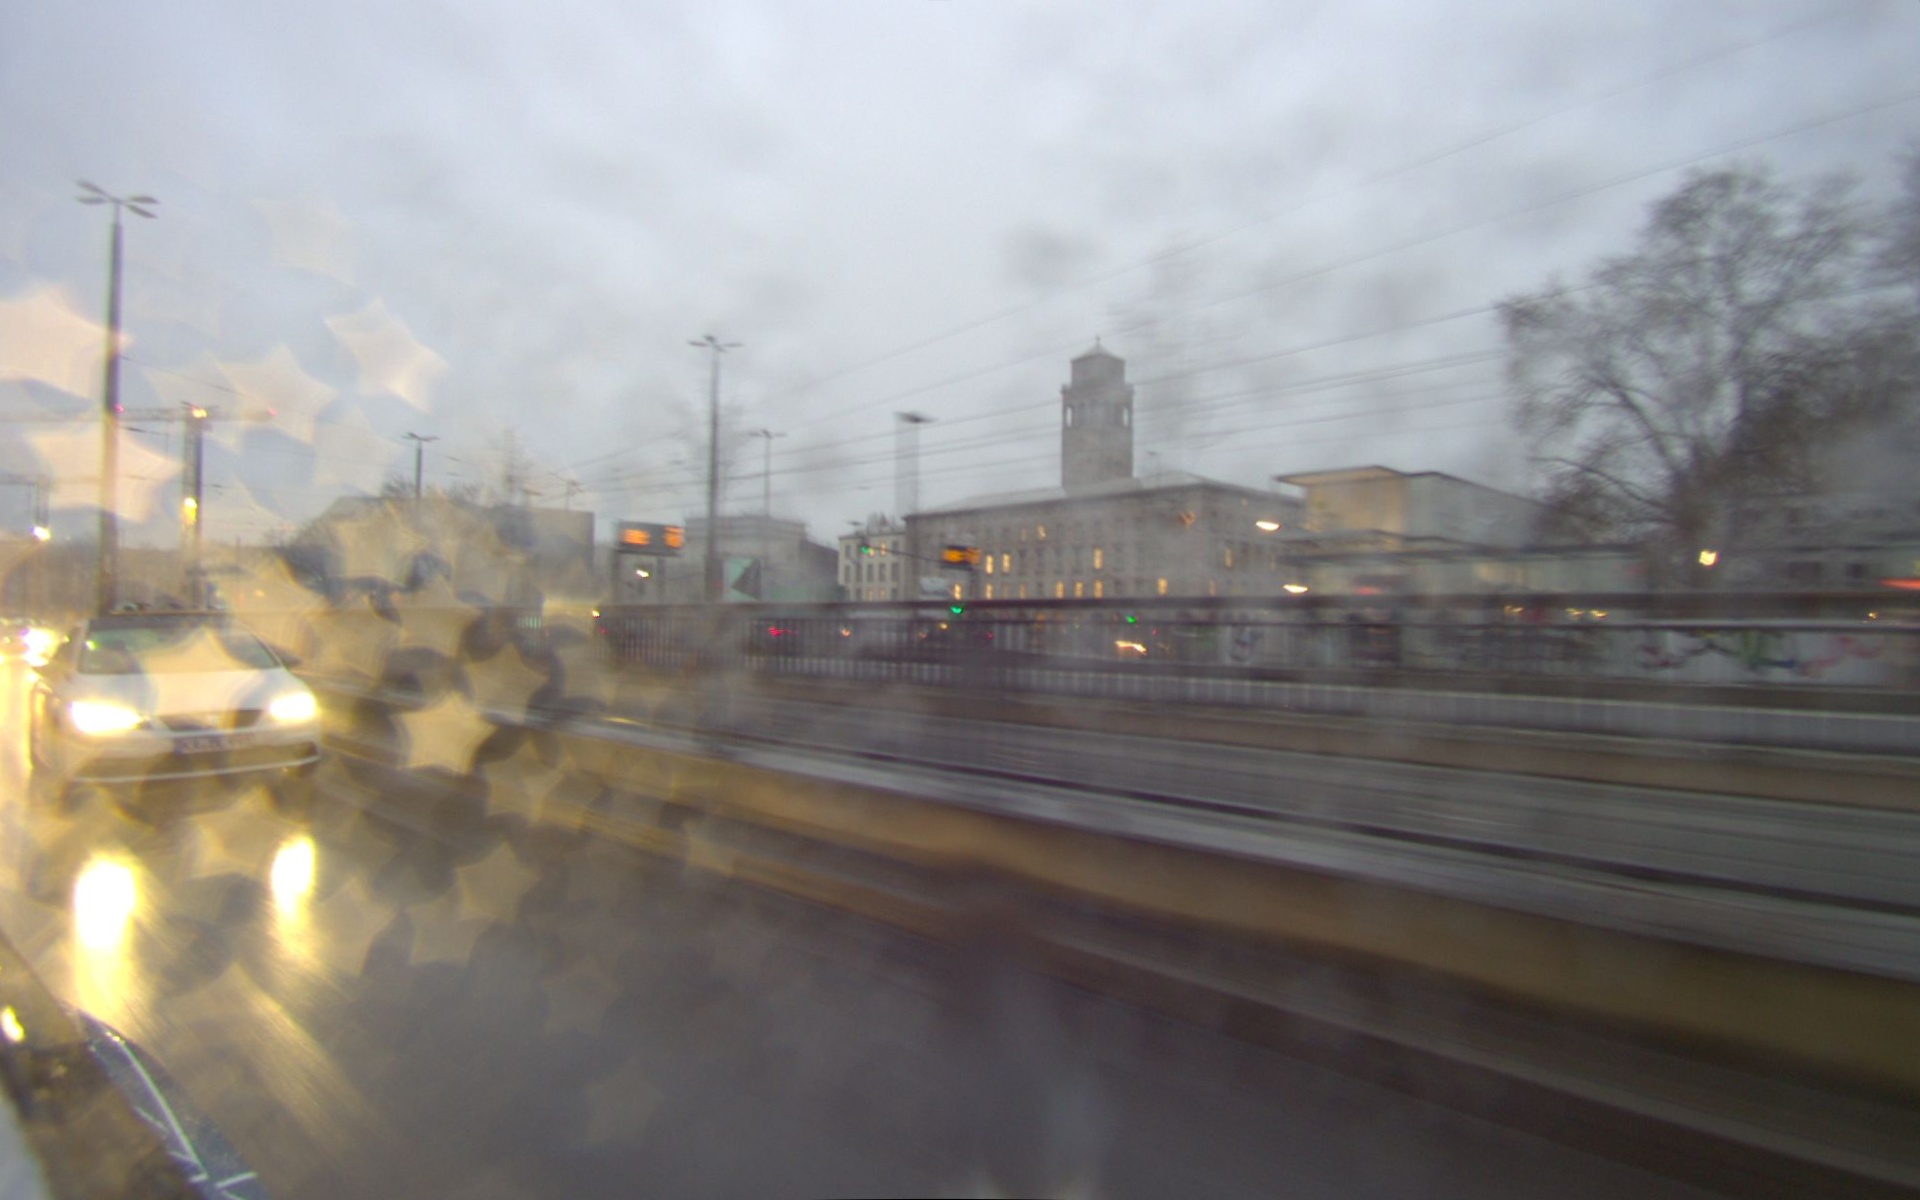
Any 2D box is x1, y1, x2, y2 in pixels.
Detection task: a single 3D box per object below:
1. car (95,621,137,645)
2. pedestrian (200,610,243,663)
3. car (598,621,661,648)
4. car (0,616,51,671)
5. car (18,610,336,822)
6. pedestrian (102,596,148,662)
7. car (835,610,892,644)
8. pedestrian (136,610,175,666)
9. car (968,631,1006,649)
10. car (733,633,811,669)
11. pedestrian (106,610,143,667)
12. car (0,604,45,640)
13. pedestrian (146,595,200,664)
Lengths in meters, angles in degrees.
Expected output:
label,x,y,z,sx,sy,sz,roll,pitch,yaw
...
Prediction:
label,x,y,z,sx,sy,sz,roll,pitch,yaw
car,-56.190,2.213,67.338,3.930,1.541,1.775,-2,-1,45
pedestrian,-24.310,1.190,33.316,0.758,1.727,0.856,-1,-1,16
car,-20.816,2.160,63.722,4.229,1.628,1.854,-1,-1,40
car,-31.135,1.375,33.024,4.002,1.695,1.971,-1,-1,45
car,-7.276,0.854,9.235,1.789,1.484,4.141,1,-1,-45
pedestrian,-27.888,0.969,33.791,1.015,2.162,0.896,-1,-1,32
car,-7.947,2.175,83.306,4.373,2.732,2.002,0,-1,-43
pedestrian,-25.076,1.175,31.553,0.744,1.731,0.650,-1,-1,16
car,2.094,3.049,77.858,1.446,1.284,3.124,-1,-1,34
car,-10.391,2.770,55.733,4.381,1.887,1.854,-1,-1,40
pedestrian,-25.955,1.198,31.448,0.656,1.748,0.607,0,0,-11
car,-45.497,1.054,48.705,3.987,1.674,1.842,-1,-2,43
pedestrian,-25.810,0.969,33.206,0.949,2.224,1.047,-1,-1,16
